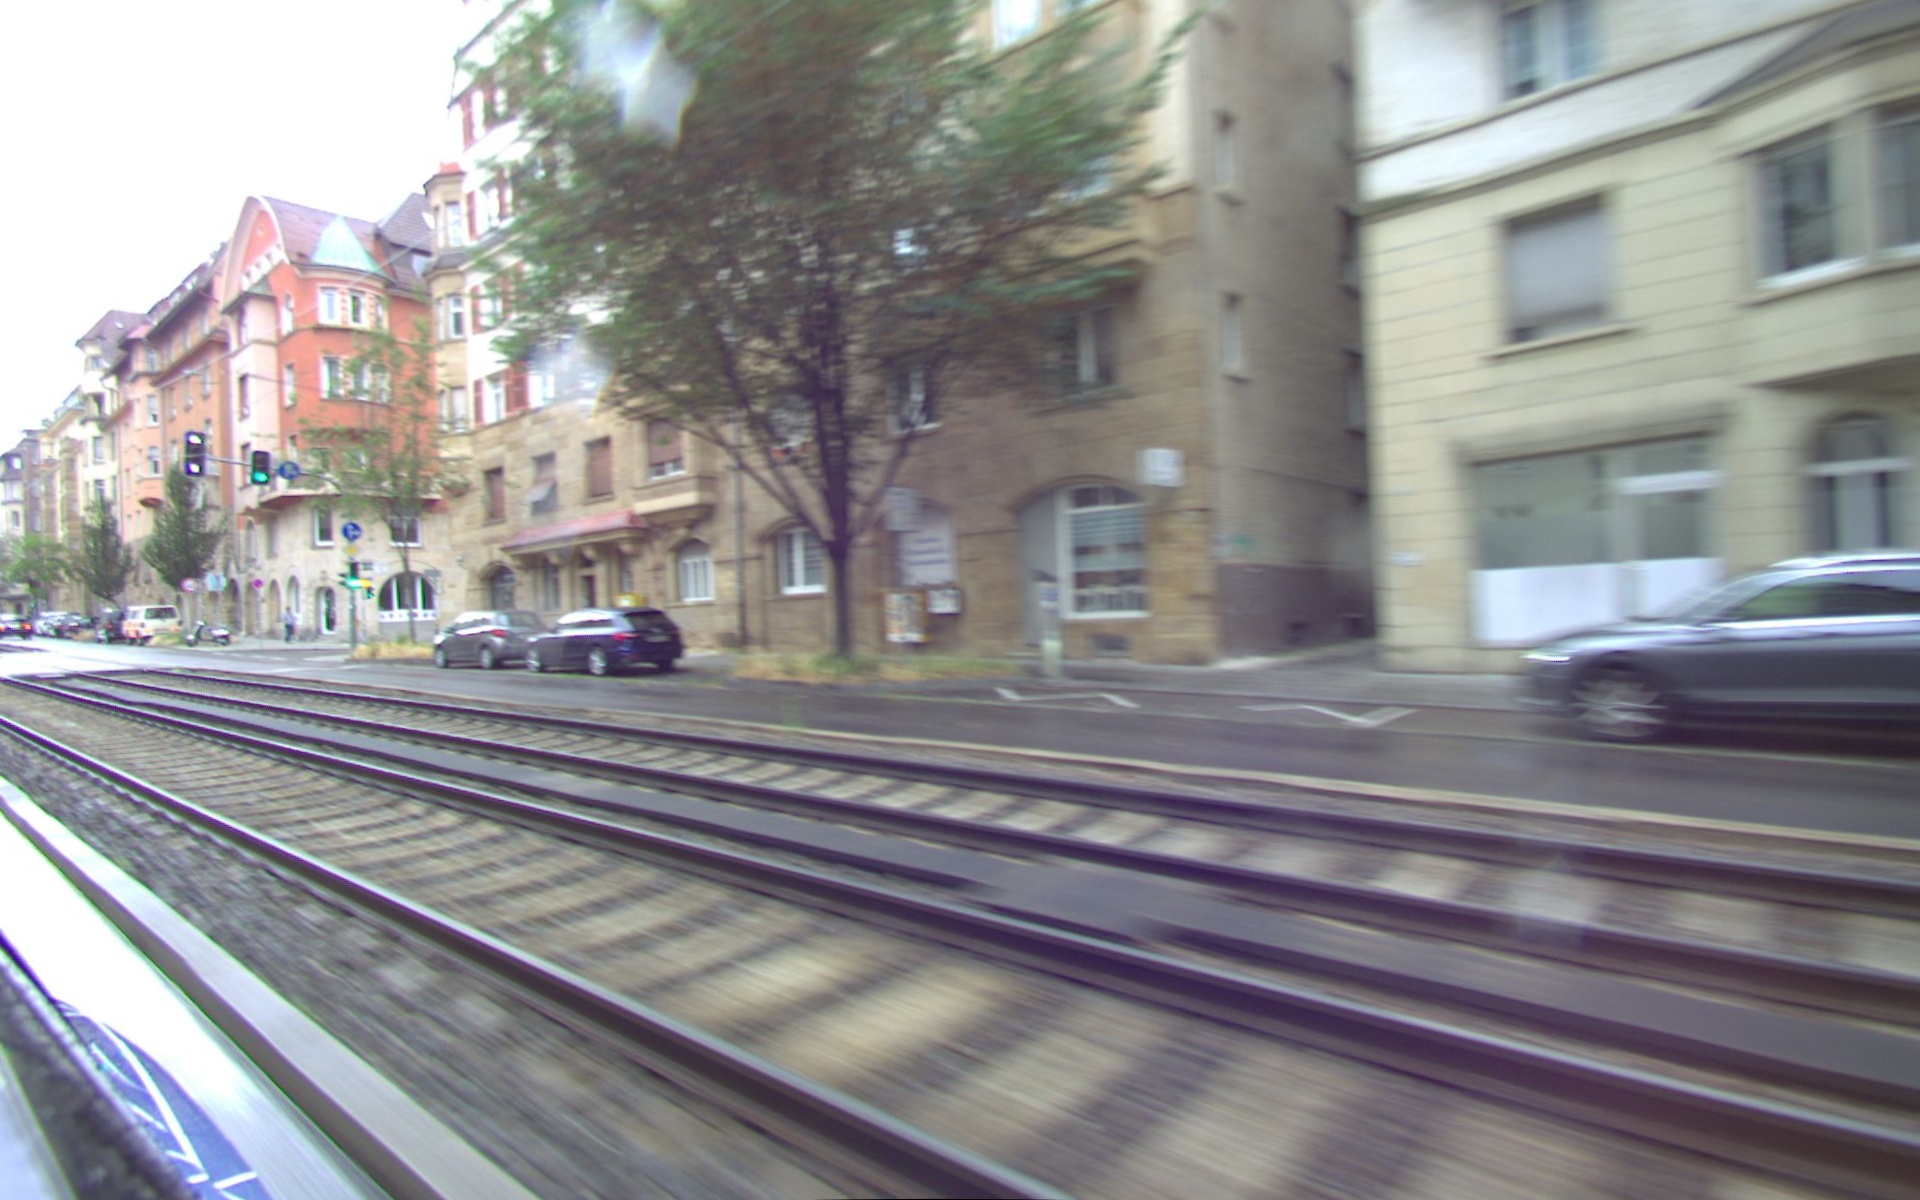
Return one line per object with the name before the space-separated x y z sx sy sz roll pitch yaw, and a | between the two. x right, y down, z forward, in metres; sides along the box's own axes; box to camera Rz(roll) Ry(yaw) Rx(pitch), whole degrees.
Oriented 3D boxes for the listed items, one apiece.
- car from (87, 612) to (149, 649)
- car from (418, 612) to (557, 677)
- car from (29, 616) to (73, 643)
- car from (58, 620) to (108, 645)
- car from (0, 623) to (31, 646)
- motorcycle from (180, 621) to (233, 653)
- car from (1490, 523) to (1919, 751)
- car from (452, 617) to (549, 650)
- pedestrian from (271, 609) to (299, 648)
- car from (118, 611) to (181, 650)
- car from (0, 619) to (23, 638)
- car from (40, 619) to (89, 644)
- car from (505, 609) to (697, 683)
car | -47.151 1.660 56.628 4.829 1.945 1.886 -1 0 41
car | -12.371 1.106 26.383 4.172 1.541 1.673 -1 0 40
car | -64.309 2.050 71.572 4.257 1.684 1.737 -1 3 41
car | -56.189 2.060 64.810 3.691 1.414 1.738 -1 2 39
car | -62.850 2.291 66.984 3.732 1.474 1.636 -2 -2 41
motorcycle | -33.505 1.630 45.037 1.754 1.385 0.770 0 0 -17
car | 7.571 0.252 8.954 4.775 1.755 1.934 -2 2 40
car | -22.298 1.583 49.235 1.746 1.478 3.945 -1 0 41
pedestrian | -31.206 1.320 46.805 0.892 1.731 0.710 -1 5 41
car | -41.641 1.527 51.943 4.473 1.945 1.711 -1 0 40
car | -82.844 2.465 87.909 4.043 1.462 1.736 0 3 43
car | -60.047 2.089 67.841 4.594 1.502 1.738 -1 2 40
car | -8.098 0.948 22.562 4.974 1.471 1.763 -1 0 40
